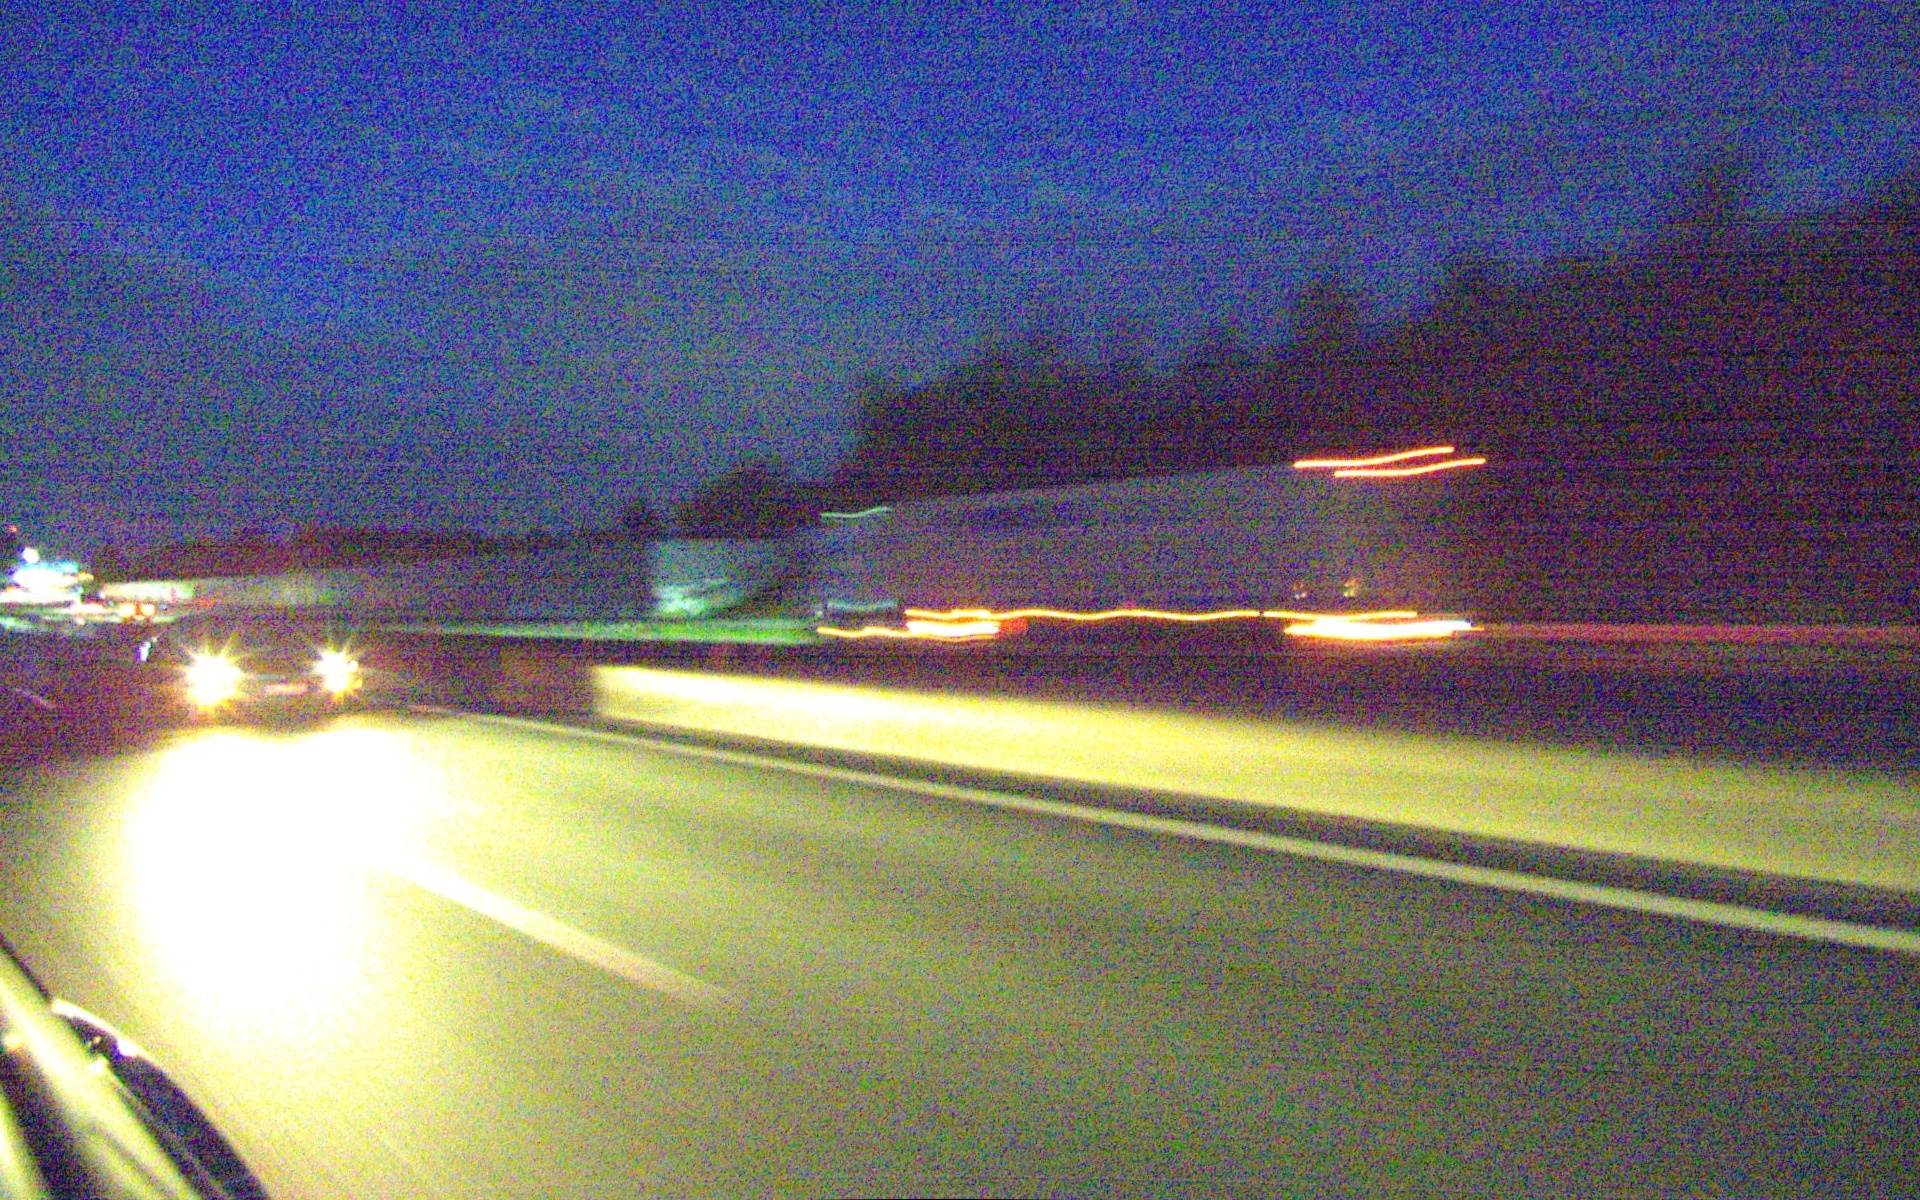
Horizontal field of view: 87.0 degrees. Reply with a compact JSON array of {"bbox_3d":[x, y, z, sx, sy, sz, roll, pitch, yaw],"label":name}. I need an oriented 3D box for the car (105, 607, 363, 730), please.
[{"bbox_3d":[-11.273,0.980,15.522,5.647,1.530,1.973,-3,-1,41],"label":"car"}]

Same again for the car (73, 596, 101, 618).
[{"bbox_3d":[-130.156,1.035,150.911,2.621,3.108,8.220,-1,0,-44],"label":"car"}]

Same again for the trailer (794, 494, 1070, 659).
[{"bbox_3d":[-0.939,-0.533,28.277,7.350,4.010,3.394,-1,0,42],"label":"trailer"}]

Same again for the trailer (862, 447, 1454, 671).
[{"bbox_3d":[3.711,-0.635,24.088,14.044,4.010,3.394,-1,0,42],"label":"trailer"}]

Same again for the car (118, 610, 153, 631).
[{"bbox_3d":[-74.105,1.814,90.937,4.673,1.706,1.803,1,1,43],"label":"car"}]
